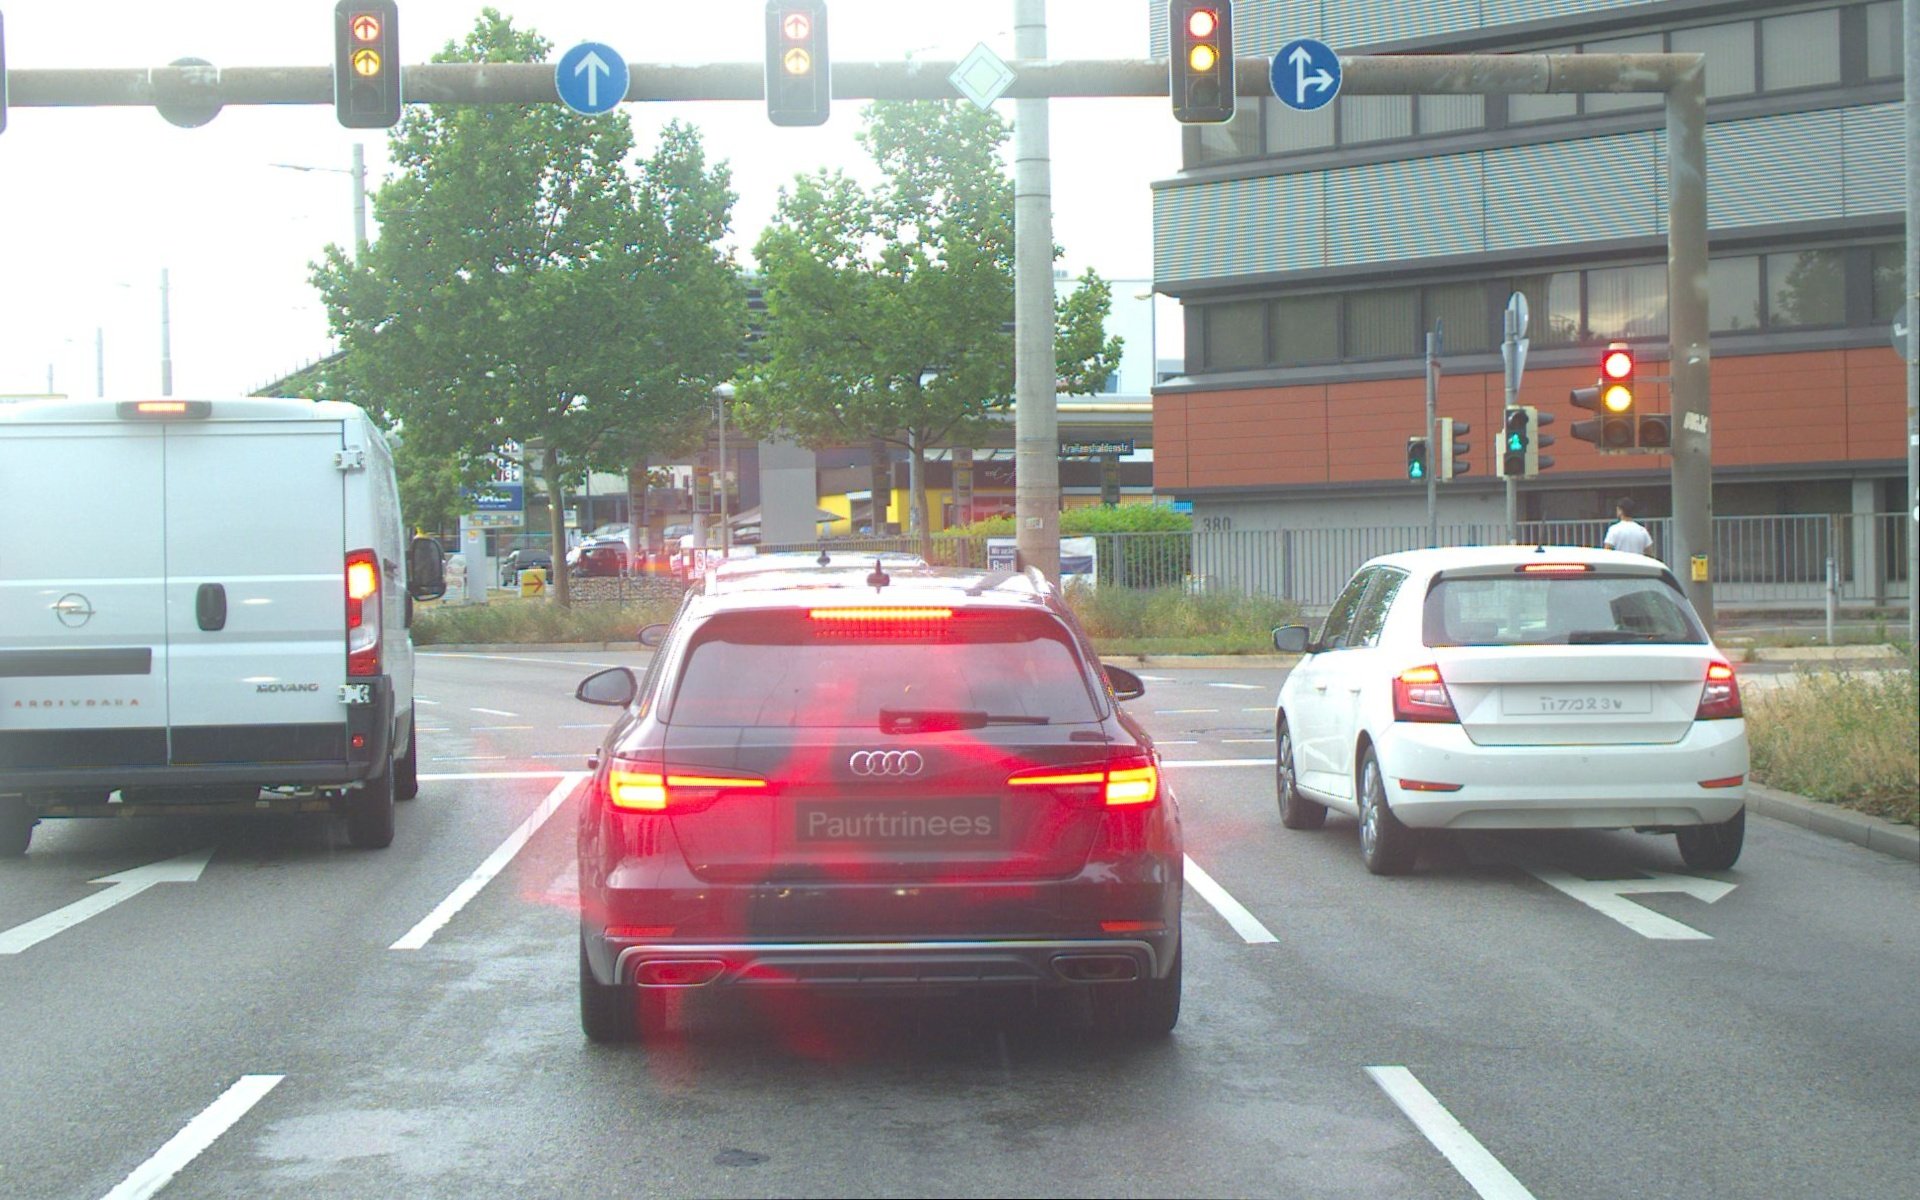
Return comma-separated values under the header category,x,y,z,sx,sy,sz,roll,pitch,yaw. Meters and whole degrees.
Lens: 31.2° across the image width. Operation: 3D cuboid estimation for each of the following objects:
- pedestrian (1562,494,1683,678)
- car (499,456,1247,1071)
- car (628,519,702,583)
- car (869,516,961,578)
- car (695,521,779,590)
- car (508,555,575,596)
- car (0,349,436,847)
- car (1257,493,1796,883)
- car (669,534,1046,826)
category,x,y,z,sx,sy,sz,roll,pitch,yaw
pedestrian,7.847,-0.182,40.755,1.143,2.118,1.222,-1,2,-1
car,-0.264,0.445,11.209,1.993,1.632,4.000,0,0,-1
car,-9.750,-1.592,113.321,1.678,2.007,3.543,2,0,-17
car,-1.550,-1.773,116.857,1.869,2.007,3.775,2,0,-22
car,-6.794,-1.350,104.588,1.993,2.025,4.001,-2,1,-11
car,-16.574,-0.975,136.028,1.791,1.586,4.001,-1,1,-19
car,-4.153,-0.006,18.526,2.445,2.286,4.905,2,0,-7
car,2.577,0.380,16.577,1.829,1.650,4.000,0,0,-2
car,-0.499,0.404,19.256,1.894,1.460,3.909,0,0,1
